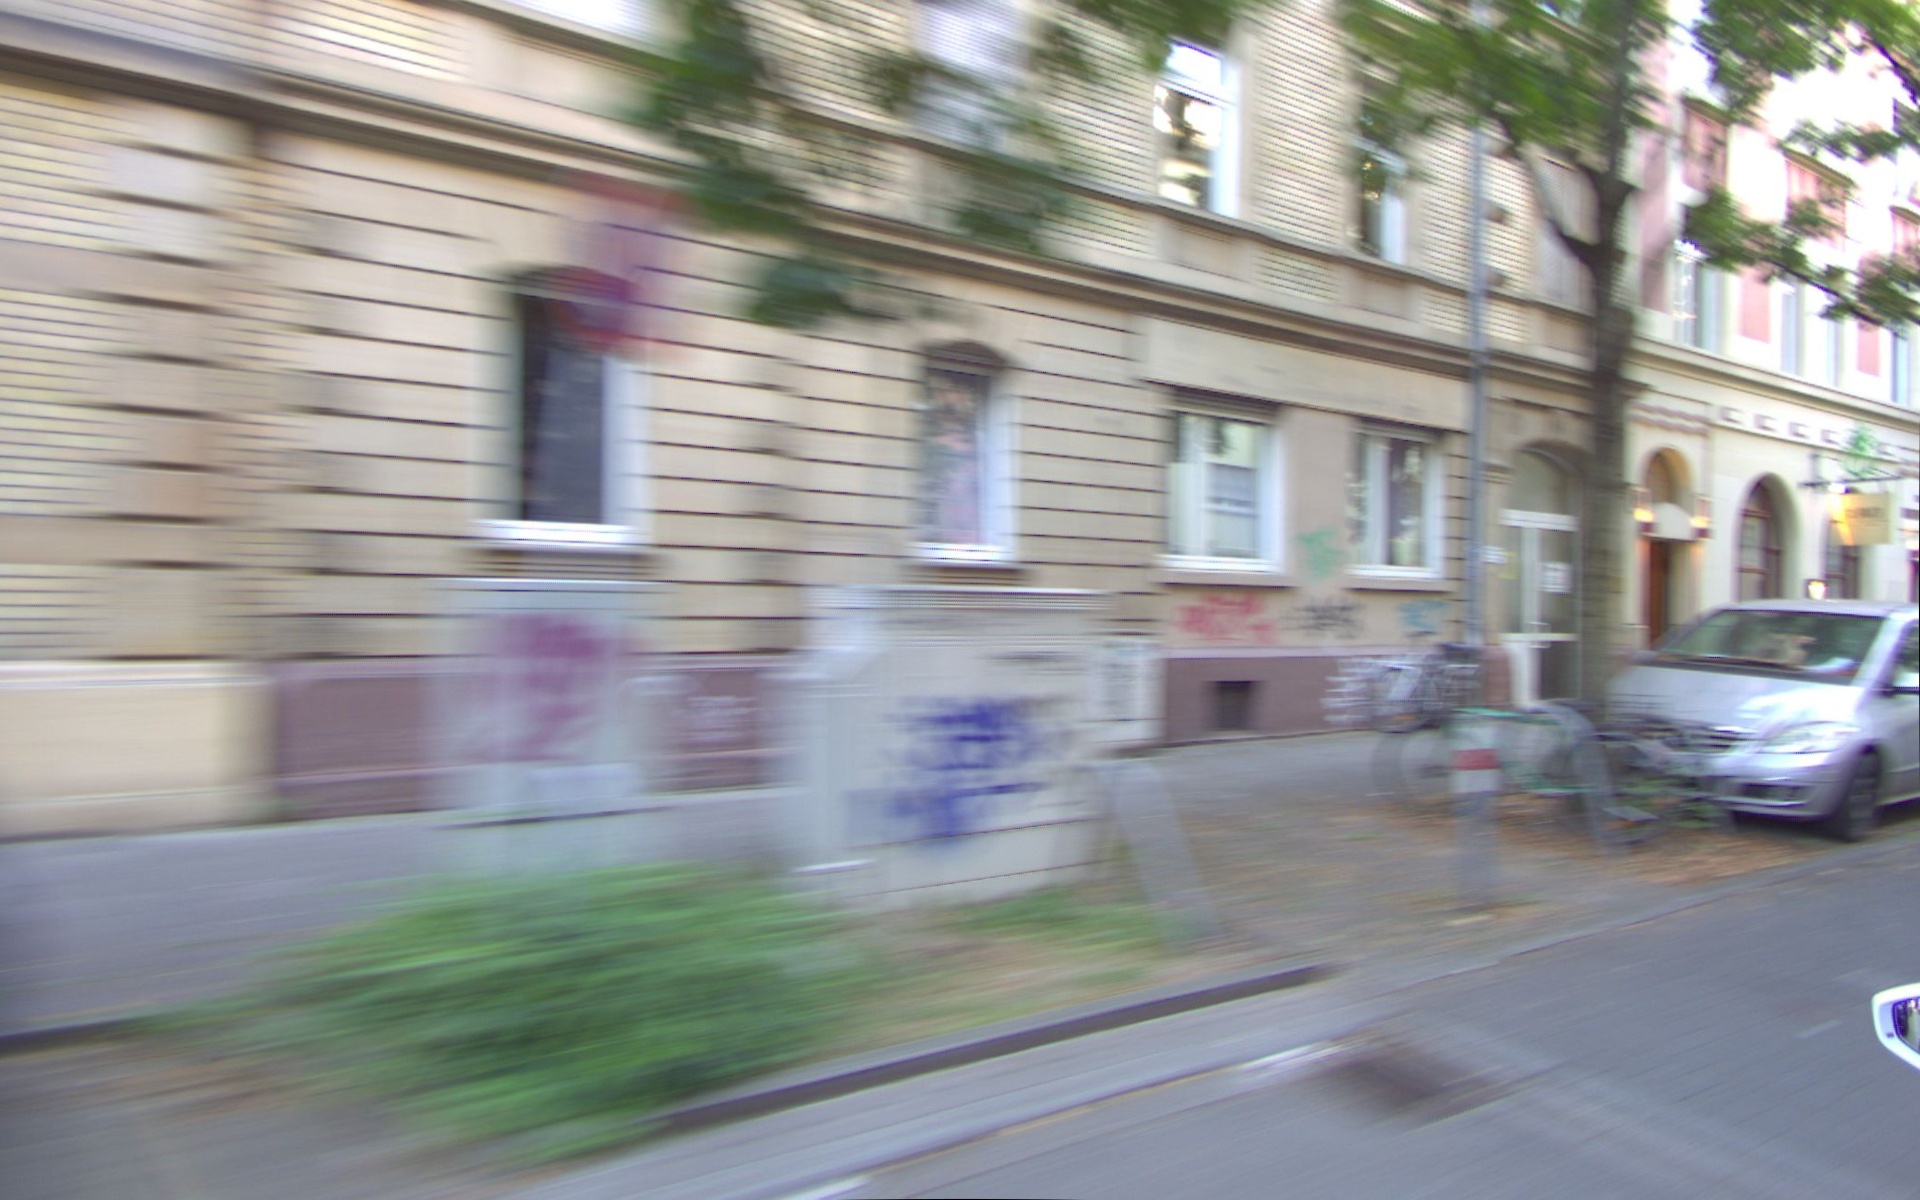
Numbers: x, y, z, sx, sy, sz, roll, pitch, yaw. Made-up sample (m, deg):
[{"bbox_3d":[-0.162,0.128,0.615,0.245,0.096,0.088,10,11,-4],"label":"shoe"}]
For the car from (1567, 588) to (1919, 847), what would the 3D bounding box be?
[{"bbox_3d":[6.800,0.756,7.957,3.812,1.629,1.669,1,0,-28],"label":"car"}]

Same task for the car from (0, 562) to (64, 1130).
[{"bbox_3d":[-3.956,0.630,1.583,3.519,1.521,1.512,1,1,-30],"label":"car"}]

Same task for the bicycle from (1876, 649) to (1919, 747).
[{"bbox_3d":[10.696,1.089,10.418,0.424,1.017,1.677,1,2,-27],"label":"bicycle"}]

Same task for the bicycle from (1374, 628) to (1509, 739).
[{"bbox_3d":[5.325,0.890,11.082,1.609,1.104,0.459,0,3,-29],"label":"bicycle"}]

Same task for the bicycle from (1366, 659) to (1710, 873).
[{"bbox_3d":[3.717,0.997,6.577,1.843,1.074,0.593,2,1,42],"label":"bicycle"}]
